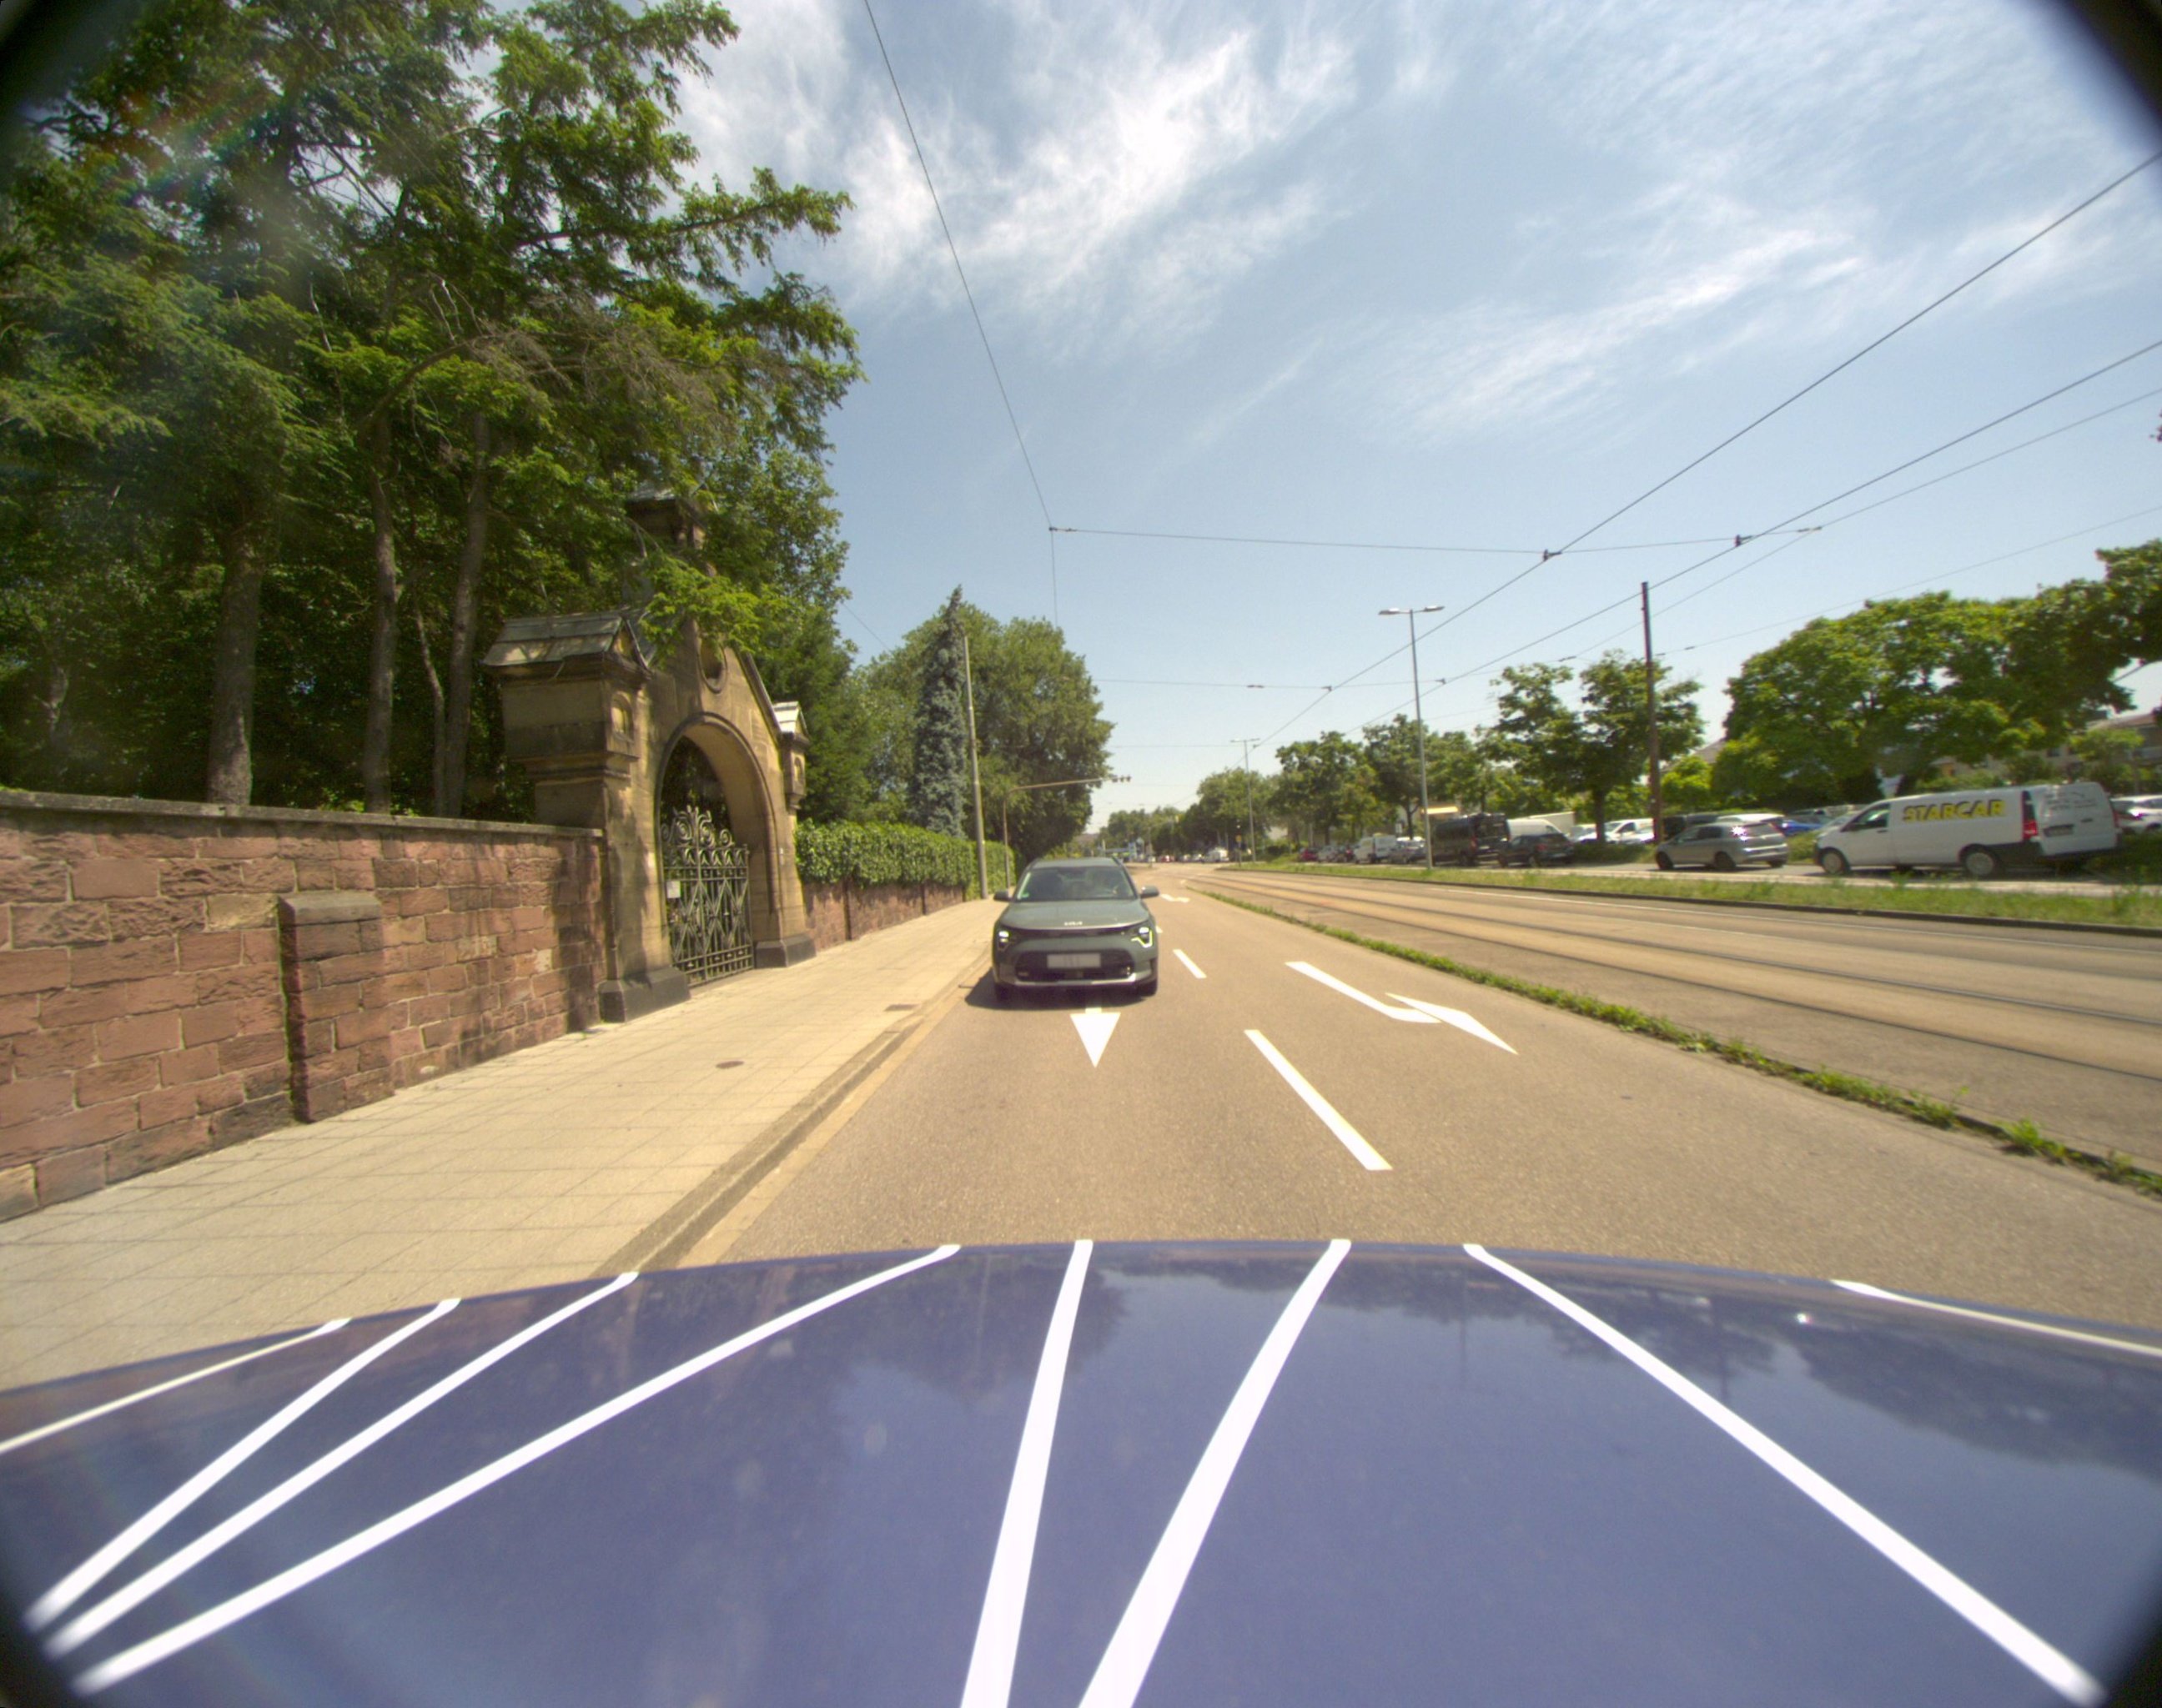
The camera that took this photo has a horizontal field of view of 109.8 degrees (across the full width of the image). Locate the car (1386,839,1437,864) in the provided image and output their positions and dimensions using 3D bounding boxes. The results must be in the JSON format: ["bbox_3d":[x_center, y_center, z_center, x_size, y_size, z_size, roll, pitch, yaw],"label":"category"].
[{"bbox_3d":[21.007,-0.186,48.389,1.767,1.456,3.608,-2,1,3],"label":"car"}]

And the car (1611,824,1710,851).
[{"bbox_3d":[30.973,-0.863,40.688,3.998,1.137,1.735,-3,0,-3],"label":"car"}]

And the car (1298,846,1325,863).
[{"bbox_3d":[21.480,-0.009,71.010,1.581,1.471,3.424,-2,1,3],"label":"car"}]

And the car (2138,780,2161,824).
[{"bbox_3d":[43.920,-2.128,29.341,4.129,1.643,1.692,-3,0,-4],"label":"car"}]

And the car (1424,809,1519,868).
[{"bbox_3d":[20.562,-0.792,40.336,2.243,2.821,5.667,-2,1,2],"label":"car"}]

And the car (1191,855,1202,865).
[{"bbox_3d":[22.589,1.179,148.129,1.703,1.842,3.983,-2,1,3],"label":"car"}]

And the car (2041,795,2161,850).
[{"bbox_3d":[31.040,-0.955,22.148,4.145,1.481,1.859,-2,1,-6],"label":"car"}]

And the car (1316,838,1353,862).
[{"bbox_3d":[21.453,-0.341,64.507,1.635,1.882,4.496,-2,1,1],"label":"car"}]

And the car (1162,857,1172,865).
[{"bbox_3d":[17.897,1.415,158.939,1.820,1.471,3.424,-2,1,3],"label":"car"}]

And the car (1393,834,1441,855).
[{"bbox_3d":[33.625,-0.924,76.003,3.998,1.863,1.715,-2,1,-5],"label":"car"}]

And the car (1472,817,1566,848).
[{"bbox_3d":[31.285,-1.490,54.405,5.434,1.944,2.029,-2,1,3],"label":"car"}]

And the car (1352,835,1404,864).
[{"bbox_3d":[21.103,-0.329,54.239,1.924,1.937,4.817,-2,1,3],"label":"car"}]

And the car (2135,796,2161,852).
[{"bbox_3d":[30.488,-0.877,19.698,4.040,1.481,1.912,-2,1,-6],"label":"car"}]

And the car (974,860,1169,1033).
[{"bbox_3d":[-0.082,0.927,9.605,1.824,1.577,4.287,-3,0,0],"label":"car"}]

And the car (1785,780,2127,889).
[{"bbox_3d":[20.130,-0.400,18.004,1.880,1.999,5.344,-6,0,2],"label":"car"}]

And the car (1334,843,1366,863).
[{"bbox_3d":[21.134,-0.077,59.782,1.429,1.470,3.262,-2,1,1],"label":"car"}]

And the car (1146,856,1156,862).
[{"bbox_3d":[16.206,1.192,176.152,1.780,1.310,3.754,-2,1,0],"label":"car"}]

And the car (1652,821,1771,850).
[{"bbox_3d":[31.288,-0.891,37.811,4.260,1.137,2.033,-3,0,-3],"label":"car"}]

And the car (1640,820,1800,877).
[{"bbox_3d":[20.296,-0.179,24.395,1.653,1.494,4.126,-6,0,2],"label":"car"}]

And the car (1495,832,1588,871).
[{"bbox_3d":[20.574,-0.141,34.151,1.975,1.568,3.752,-2,1,2],"label":"car"}]

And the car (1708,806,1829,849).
[{"bbox_3d":[31.878,-1.215,35.294,3.998,1.707,1.797,-3,0,-3],"label":"car"}]

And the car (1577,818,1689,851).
[{"bbox_3d":[31.586,-1.112,43.578,4.926,1.567,2.000,-4,0,-1],"label":"car"}]

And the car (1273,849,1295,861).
[{"bbox_3d":[22.150,0.079,83.054,1.581,1.152,3.424,-2,1,3],"label":"car"}]

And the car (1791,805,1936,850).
[{"bbox_3d":[30.709,-1.020,29.890,3.999,1.479,1.866,-3,0,-6],"label":"car"}]

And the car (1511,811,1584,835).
[{"bbox_3d":[45.614,-3.049,74.353,5.744,2.051,2.147,-2,1,-1],"label":"car"}]

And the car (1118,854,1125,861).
[{"bbox_3d":[12.750,1.103,238.579,1.781,1.907,3.753,-2,1,-3],"label":"car"}]

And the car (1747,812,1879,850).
[{"bbox_3d":[31.400,-0.965,32.645,3.998,1.398,1.797,-2,0,-3],"label":"car"}]

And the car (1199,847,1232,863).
[{"bbox_3d":[17.882,0.101,101.150,1.825,1.979,4.203,-3,1,-37],"label":"car"}]
